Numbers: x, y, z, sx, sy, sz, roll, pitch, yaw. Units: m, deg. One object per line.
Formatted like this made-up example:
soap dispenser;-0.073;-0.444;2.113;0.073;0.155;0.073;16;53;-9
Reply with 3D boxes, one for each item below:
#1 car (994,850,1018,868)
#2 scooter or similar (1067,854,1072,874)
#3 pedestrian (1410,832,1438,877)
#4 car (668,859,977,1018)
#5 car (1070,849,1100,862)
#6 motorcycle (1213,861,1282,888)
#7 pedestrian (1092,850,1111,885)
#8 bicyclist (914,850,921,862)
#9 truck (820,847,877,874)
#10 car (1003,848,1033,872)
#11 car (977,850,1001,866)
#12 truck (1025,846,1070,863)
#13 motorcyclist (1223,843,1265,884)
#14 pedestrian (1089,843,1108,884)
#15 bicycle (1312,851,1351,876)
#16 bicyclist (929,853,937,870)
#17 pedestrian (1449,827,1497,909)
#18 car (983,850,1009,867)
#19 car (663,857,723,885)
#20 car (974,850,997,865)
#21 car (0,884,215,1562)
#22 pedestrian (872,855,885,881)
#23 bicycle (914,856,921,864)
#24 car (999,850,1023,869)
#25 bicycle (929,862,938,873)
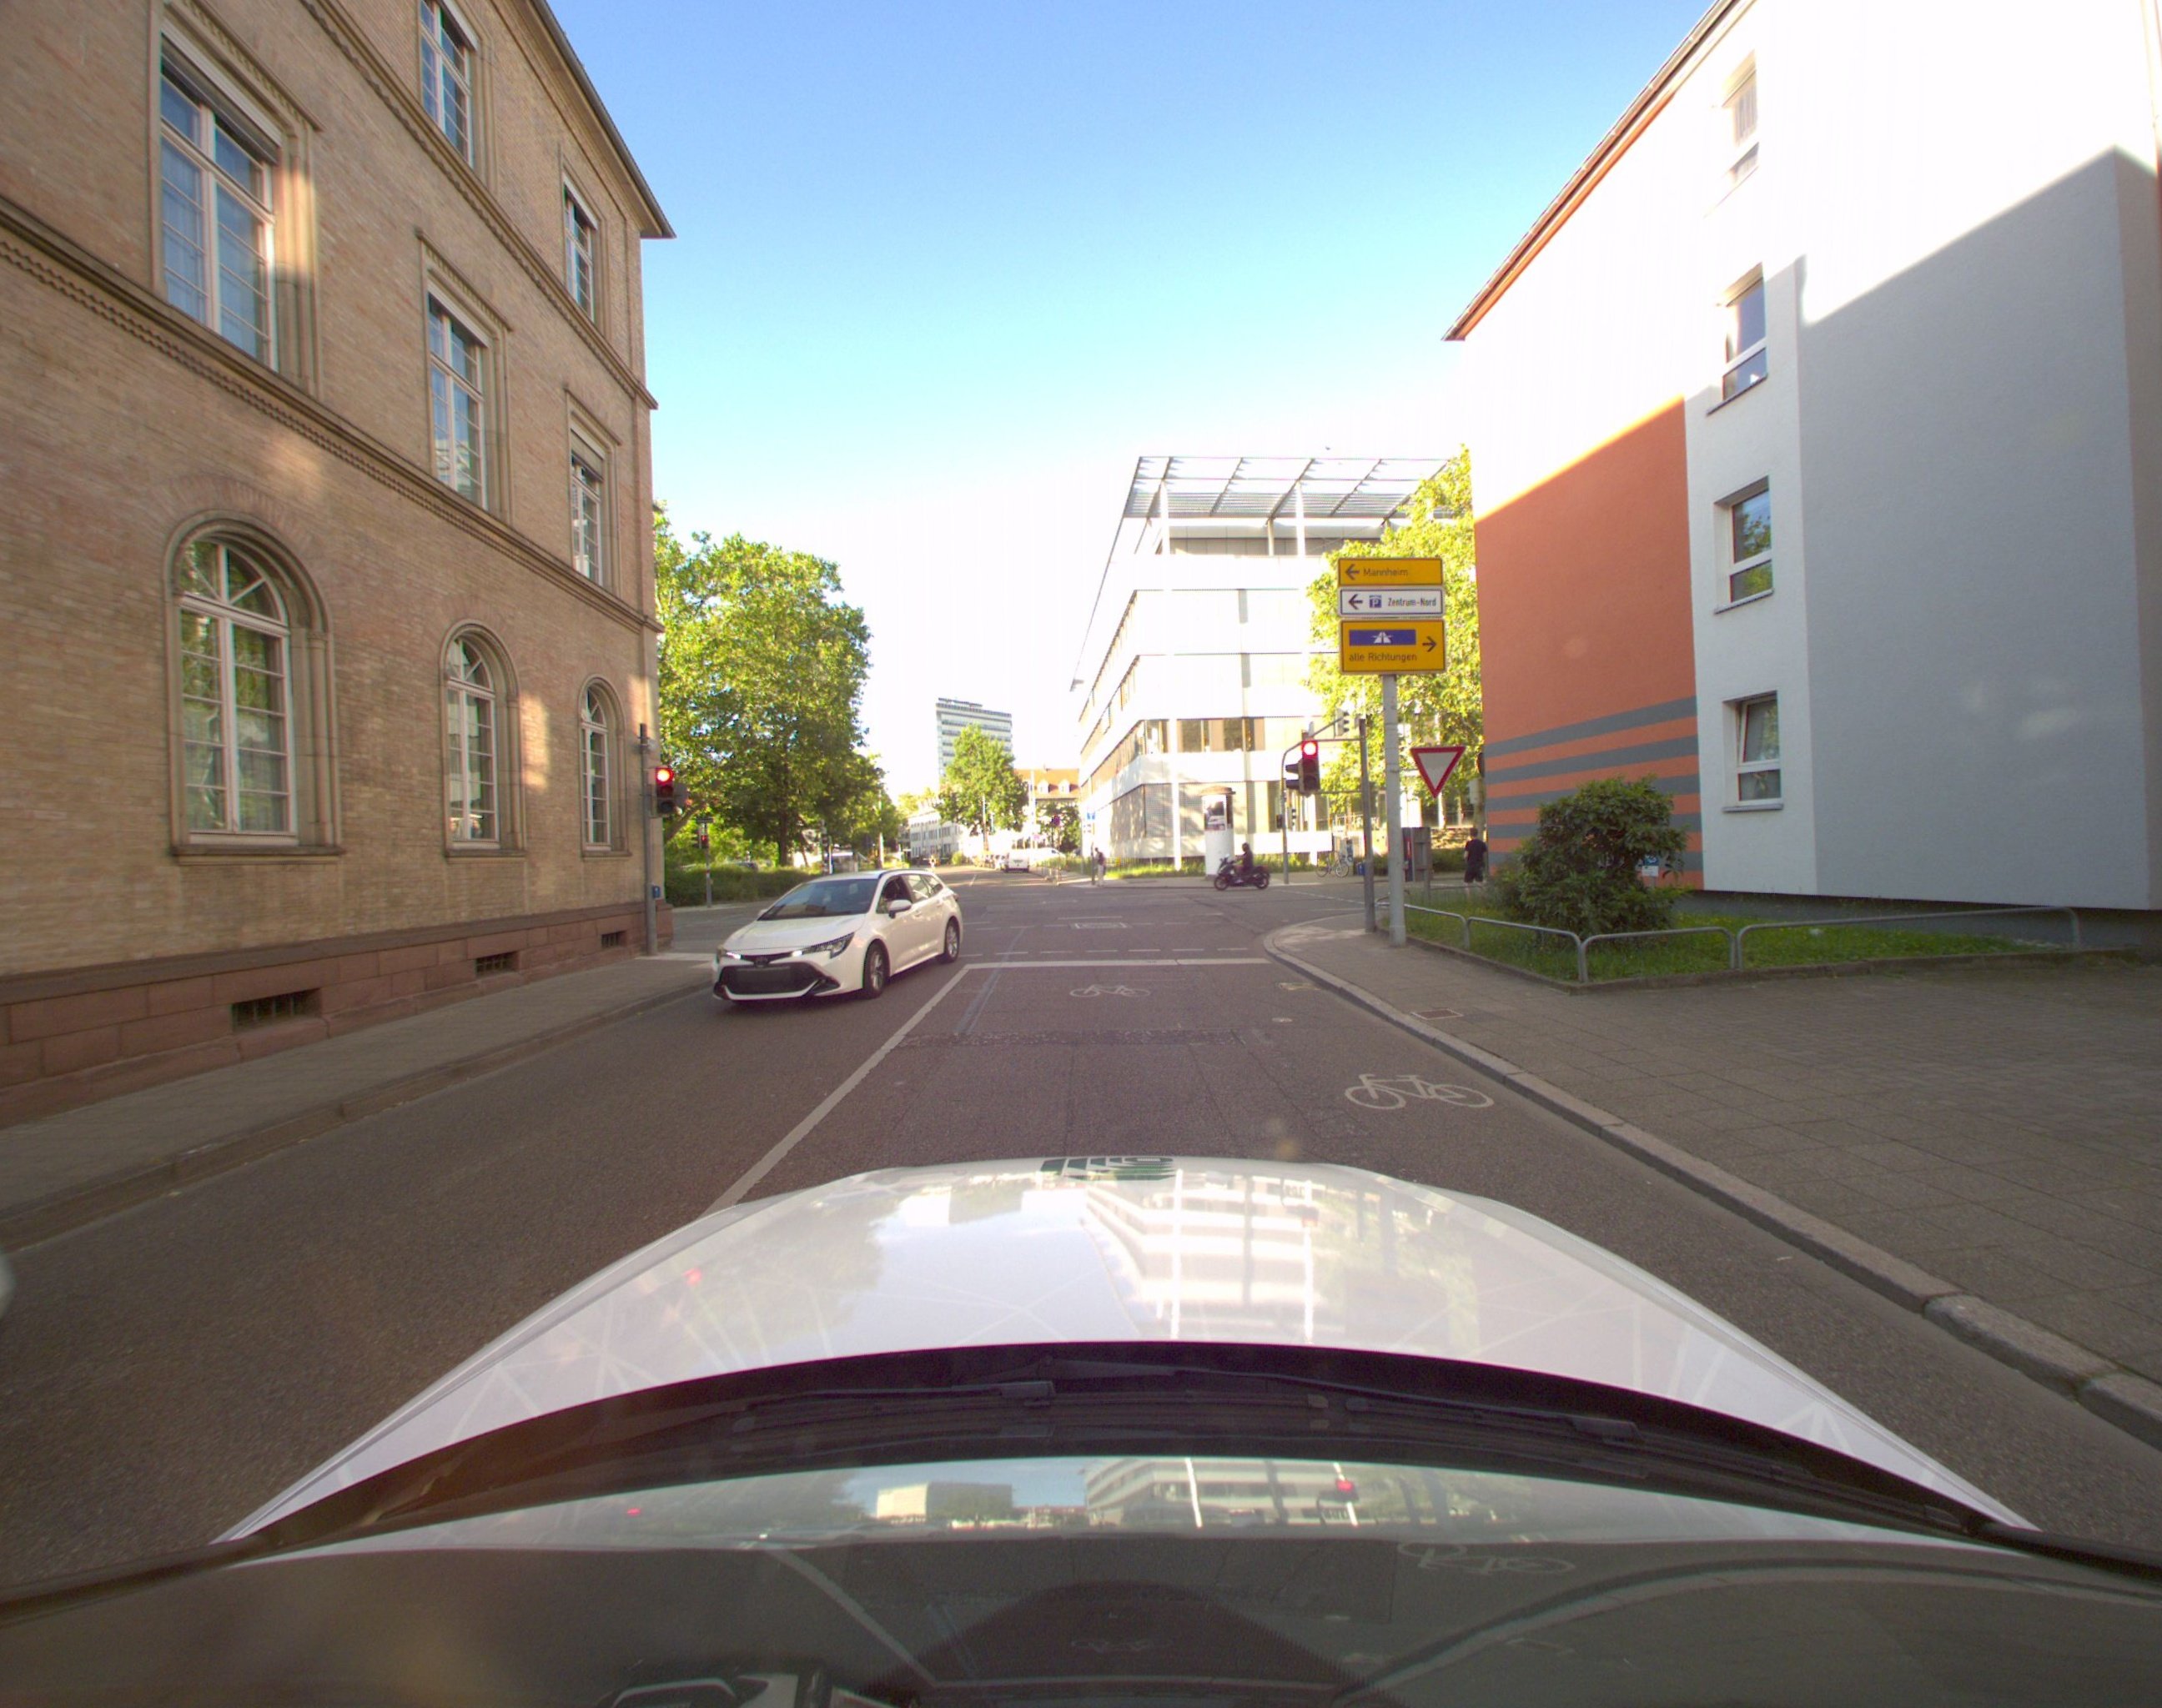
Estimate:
car;-7.271;0.471;78.673;1.889;1.555;4.398;-2;1;-11
scooter or similar;-0.828;0.753;58.752;0.329;1.424;1.333;0;-1;-4
pedestrian;14.367;0.012;34.158;0.834;1.840;0.707;-1;0;-8
car;-3.022;0.911;10.753;1.875;1.476;4.558;-4;0;10
car;0.501;0.158;104.436;3.563;1.546;1.549;-2;0;-17
motorcycle;5.998;0.728;29.432;2.293;0.888;0.820;-2;0;-4
pedestrian;0.925;0.604;37.328;0.561;1.540;0.673;-5;1;-16
bicyclist;-23.062;0.272;114.754;0.865;1.515;1.016;-5;0;-9
truck;-21.612;0.588;75.832;4.825;2.399;2.082;-2;0;-8
car;-5.094;0.445;64.957;2.084;1.795;4.403;-2;1;-8
car;-10.373;0.468;91.188;1.893;1.655;4.390;-2;1;-16
truck;-4.250;0.058;103.365;5.351;2.013;1.988;-2;0;-17
motorcyclist;5.879;0.329;29.431;1.291;1.419;0.820;-2;0;-4
pedestrian;0.832;0.446;37.937;0.555;1.850;0.680;-5;1;18
bicycle;11.030;0.414;35.919;0.510;1.049;1.670;-4;3;-33
bicyclist;-13.774;0.710;75.976;0.615;1.532;0.901;-3;0;-7
pedestrian;8.963;0.306;18.628;0.704;1.840;0.837;0;0;1
car;-9.030;0.427;85.970;1.893;1.655;4.390;-2;1;-16
car;-37.171;1.627;78.121;4.551;2.391;2.069;-3;0;-7
car;-11.280;0.418;95.967;1.893;1.655;4.390;-2;1;-16
car;-3.507;0.954;0.261;1.679;1.582;4.277;-4;0;2
pedestrian;-13.371;0.921;53.784;0.704;1.723;0.950;-3;0;-13
bicycle;-23.023;0.828;114.738;0.865;1.009;2.407;-5;0;-9
car;-6.336;0.497;73.275;1.887;1.555;4.403;-2;1;-8
bicycle;-13.751;1.248;75.963;0.615;0.969;1.837;-3;0;-7
